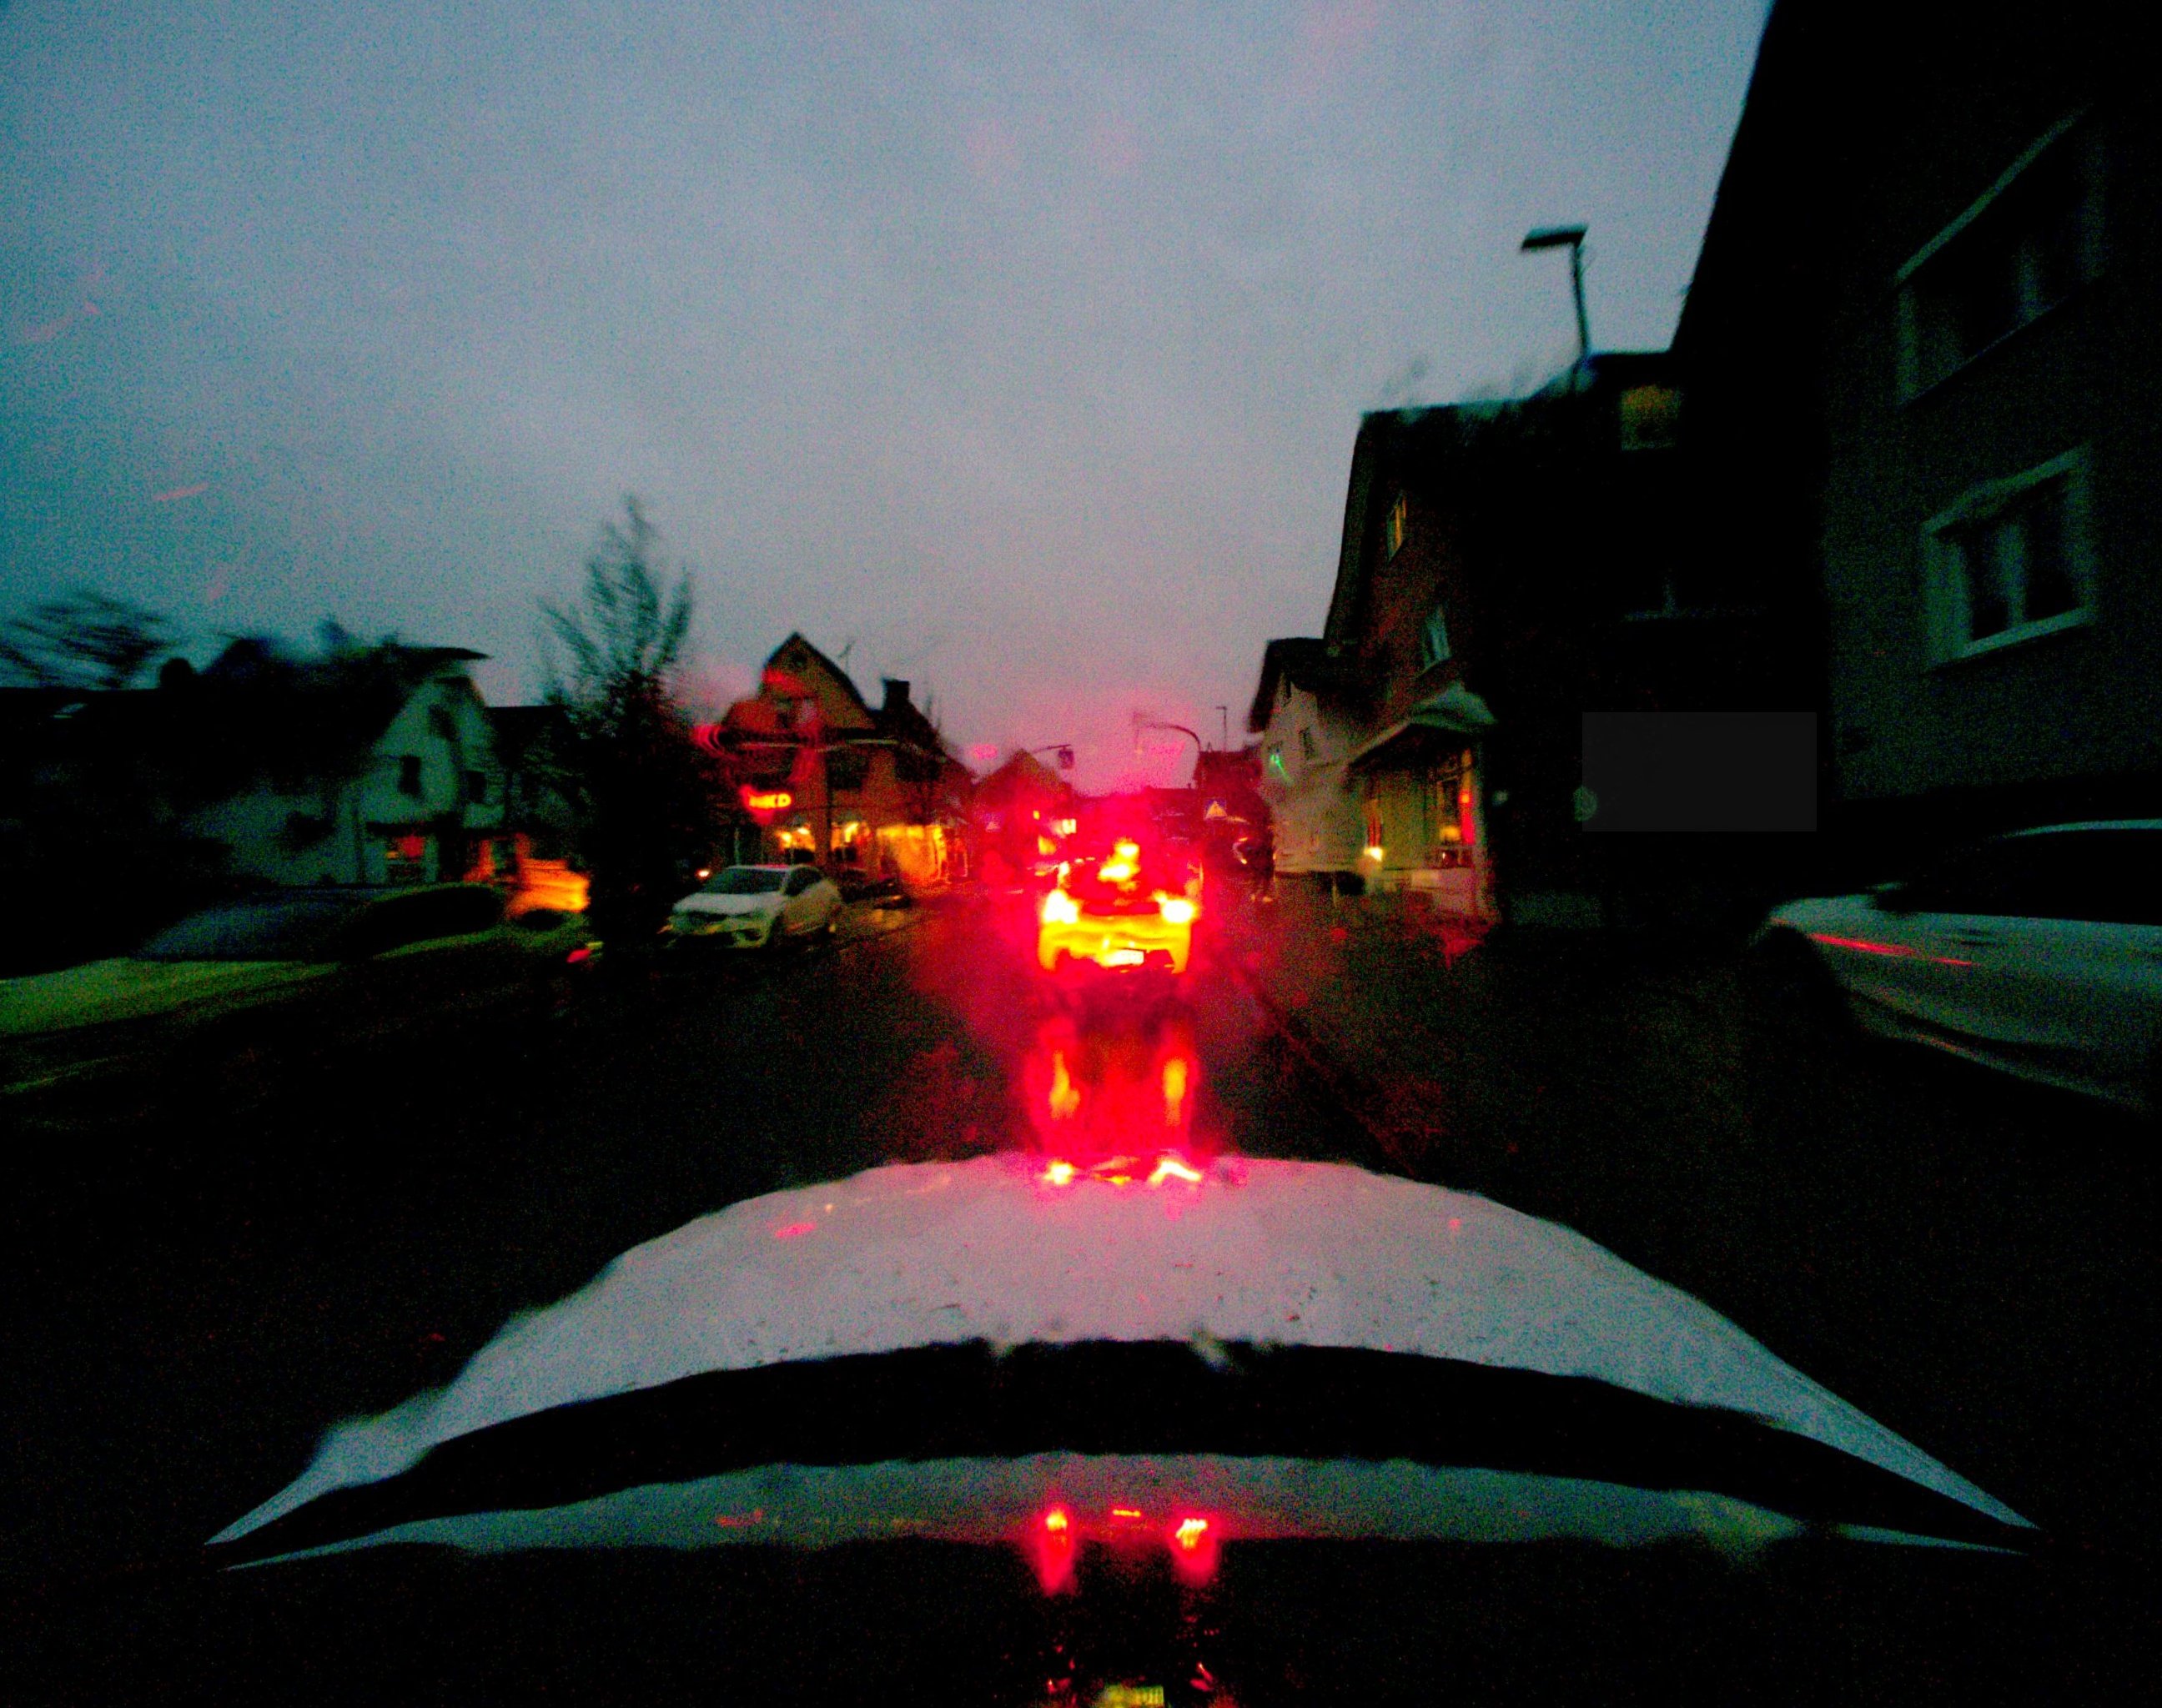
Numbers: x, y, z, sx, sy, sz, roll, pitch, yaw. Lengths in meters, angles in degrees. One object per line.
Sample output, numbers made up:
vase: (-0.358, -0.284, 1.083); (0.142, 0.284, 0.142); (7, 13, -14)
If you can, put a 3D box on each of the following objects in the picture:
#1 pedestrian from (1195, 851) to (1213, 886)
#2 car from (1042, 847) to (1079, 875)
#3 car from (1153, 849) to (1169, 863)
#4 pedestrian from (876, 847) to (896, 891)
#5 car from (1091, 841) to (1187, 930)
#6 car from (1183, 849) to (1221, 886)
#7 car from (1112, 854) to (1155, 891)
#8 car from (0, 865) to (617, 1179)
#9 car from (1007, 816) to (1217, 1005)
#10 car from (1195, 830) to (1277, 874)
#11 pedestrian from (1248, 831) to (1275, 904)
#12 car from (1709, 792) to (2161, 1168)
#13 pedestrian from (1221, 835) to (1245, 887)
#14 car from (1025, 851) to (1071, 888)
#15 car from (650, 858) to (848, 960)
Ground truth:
pedestrian: (4.438, 0.514, 29.364); (0.551, 1.233, 0.434); (-1, 0, 0)
car: (-1.314, 0.463, 54.252); (1.985, 1.752, 4.366); (-1, 0, 4)
car: (8.683, 0.201, 88.308); (1.527, 1.245, 3.651); (-6, 1, 4)
pedestrian: (-7.886, 0.617, 32.936); (0.586, 1.742, 0.684); (-1, 0, -2)
car: (1.259, 0.599, 17.378); (1.789, 1.662, 4.005); (-1, 0, 5)
car: (7.069, 0.749, 47.847); (1.636, 2.013, 4.001); (-3, 0, 1)
car: (2.533, 0.835, 38.412); (1.818, 1.601, 4.588); (-1, 0, 6)
car: (-5.866, 0.880, 6.340); (1.740, 1.516, 4.347); (0, 0, 4)
car: (0.553, 0.527, 10.218); (1.983, 1.795, 4.657); (-2, 1, 6)
car: (7.325, -0.063, 38.765); (3.677, 2.014, 1.692); (-1, -1, 6)
pedestrian: (4.809, 0.359, 21.758); (0.659, 1.888, 0.826); (-1, -1, 10)
car: (5.324, 0.434, 3.905); (1.871, 1.466, 4.559); (-3, 0, 13)
pedestrian: (5.468, 0.242, 29.311); (0.701, 1.876, 0.617); (0, 1, -3)
car: (-1.849, 0.844, 46.836); (1.984, 2.013, 4.368); (-1, 0, 5)
car: (-5.642, 0.850, 14.443); (1.662, 1.516, 4.004); (0, 0, 3)
